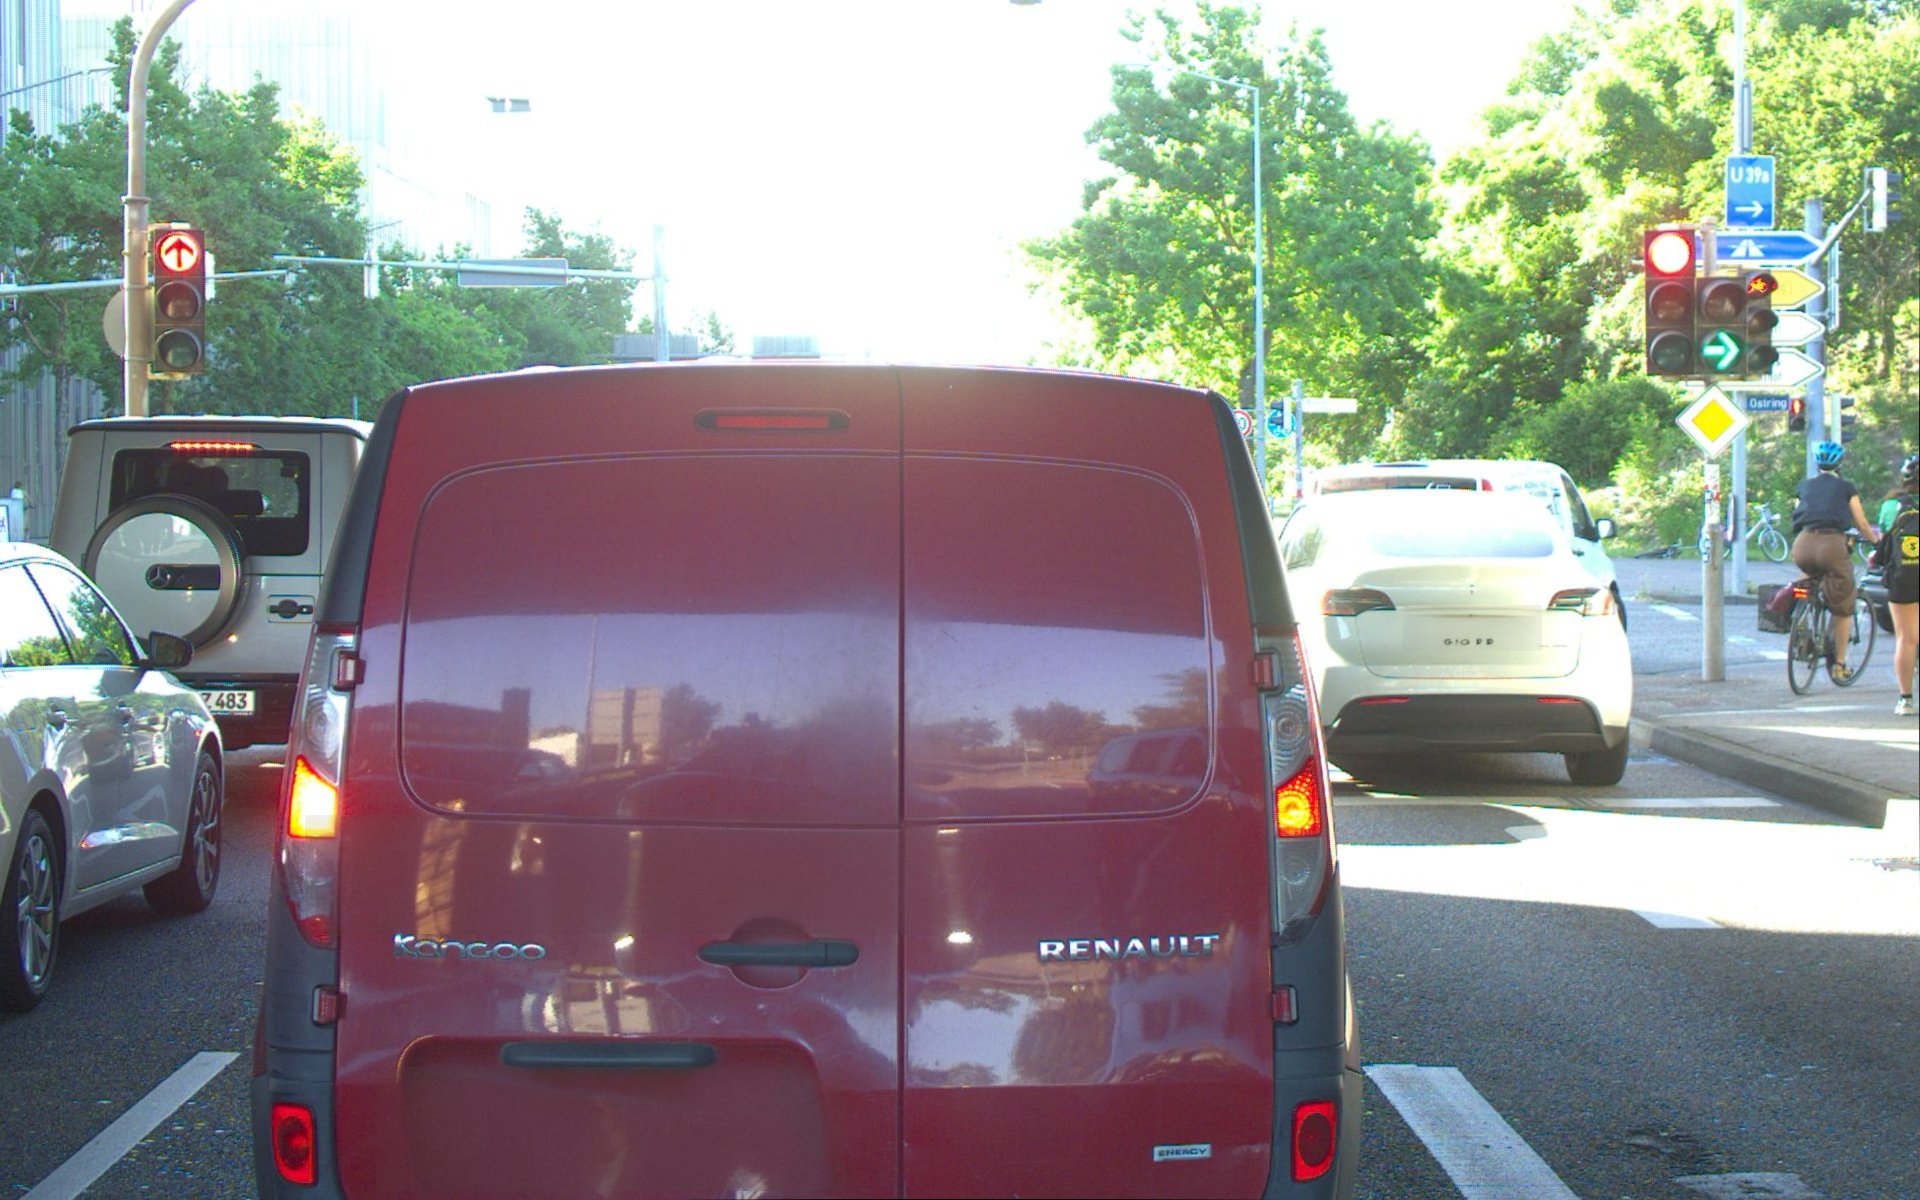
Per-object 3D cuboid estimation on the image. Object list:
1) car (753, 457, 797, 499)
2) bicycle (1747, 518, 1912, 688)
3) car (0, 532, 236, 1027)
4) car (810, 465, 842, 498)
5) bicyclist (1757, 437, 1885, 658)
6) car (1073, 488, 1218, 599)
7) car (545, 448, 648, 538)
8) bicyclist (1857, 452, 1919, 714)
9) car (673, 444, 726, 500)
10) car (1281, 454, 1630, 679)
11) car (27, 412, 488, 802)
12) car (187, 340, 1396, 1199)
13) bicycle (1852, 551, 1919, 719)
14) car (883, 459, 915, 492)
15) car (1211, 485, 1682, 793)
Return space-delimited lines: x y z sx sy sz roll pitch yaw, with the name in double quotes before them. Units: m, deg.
"car" -9.359 -6.164 174.085 1.993 2.007 4.000 1 1 -1
"bicycle" 6.201 0.009 24.467 0.652 1.163 1.775 1 1 31
"car" -3.633 0.480 11.485 1.692 1.405 3.814 1 1 -1
"car" -8.663 -7.683 222.273 1.929 2.007 3.914 1 1 -1
"bicyclist" 6.085 -0.371 24.273 0.654 1.528 0.845 1 1 30
"car" 2.528 -0.790 47.571 1.745 1.451 3.717 1 1 -1
"car" -8.474 -2.477 80.450 1.993 2.007 4.000 1 1 -1
"bicyclist" 6.051 -0.107 21.682 0.677 1.623 0.644 1 0 10
"car" -10.023 -4.906 132.416 1.748 2.007 3.845 1 1 -1
"car" 4.514 -0.325 30.669 1.900 1.830 4.829 1 1 23
"car" -3.723 -0.002 18.850 1.813 1.897 3.814 1 1 -1
"car" -0.268 0.478 6.933 1.719 1.758 4.000 1 1 -1
"bicycle" 6.047 0.211 21.695 0.677 1.020 1.528 1 1 10
"car" -3.903 -7.968 220.669 1.993 2.007 4.000 1 1 -1
"car" 2.688 0.168 20.059 1.993 1.546 4.421 2 1 -1
